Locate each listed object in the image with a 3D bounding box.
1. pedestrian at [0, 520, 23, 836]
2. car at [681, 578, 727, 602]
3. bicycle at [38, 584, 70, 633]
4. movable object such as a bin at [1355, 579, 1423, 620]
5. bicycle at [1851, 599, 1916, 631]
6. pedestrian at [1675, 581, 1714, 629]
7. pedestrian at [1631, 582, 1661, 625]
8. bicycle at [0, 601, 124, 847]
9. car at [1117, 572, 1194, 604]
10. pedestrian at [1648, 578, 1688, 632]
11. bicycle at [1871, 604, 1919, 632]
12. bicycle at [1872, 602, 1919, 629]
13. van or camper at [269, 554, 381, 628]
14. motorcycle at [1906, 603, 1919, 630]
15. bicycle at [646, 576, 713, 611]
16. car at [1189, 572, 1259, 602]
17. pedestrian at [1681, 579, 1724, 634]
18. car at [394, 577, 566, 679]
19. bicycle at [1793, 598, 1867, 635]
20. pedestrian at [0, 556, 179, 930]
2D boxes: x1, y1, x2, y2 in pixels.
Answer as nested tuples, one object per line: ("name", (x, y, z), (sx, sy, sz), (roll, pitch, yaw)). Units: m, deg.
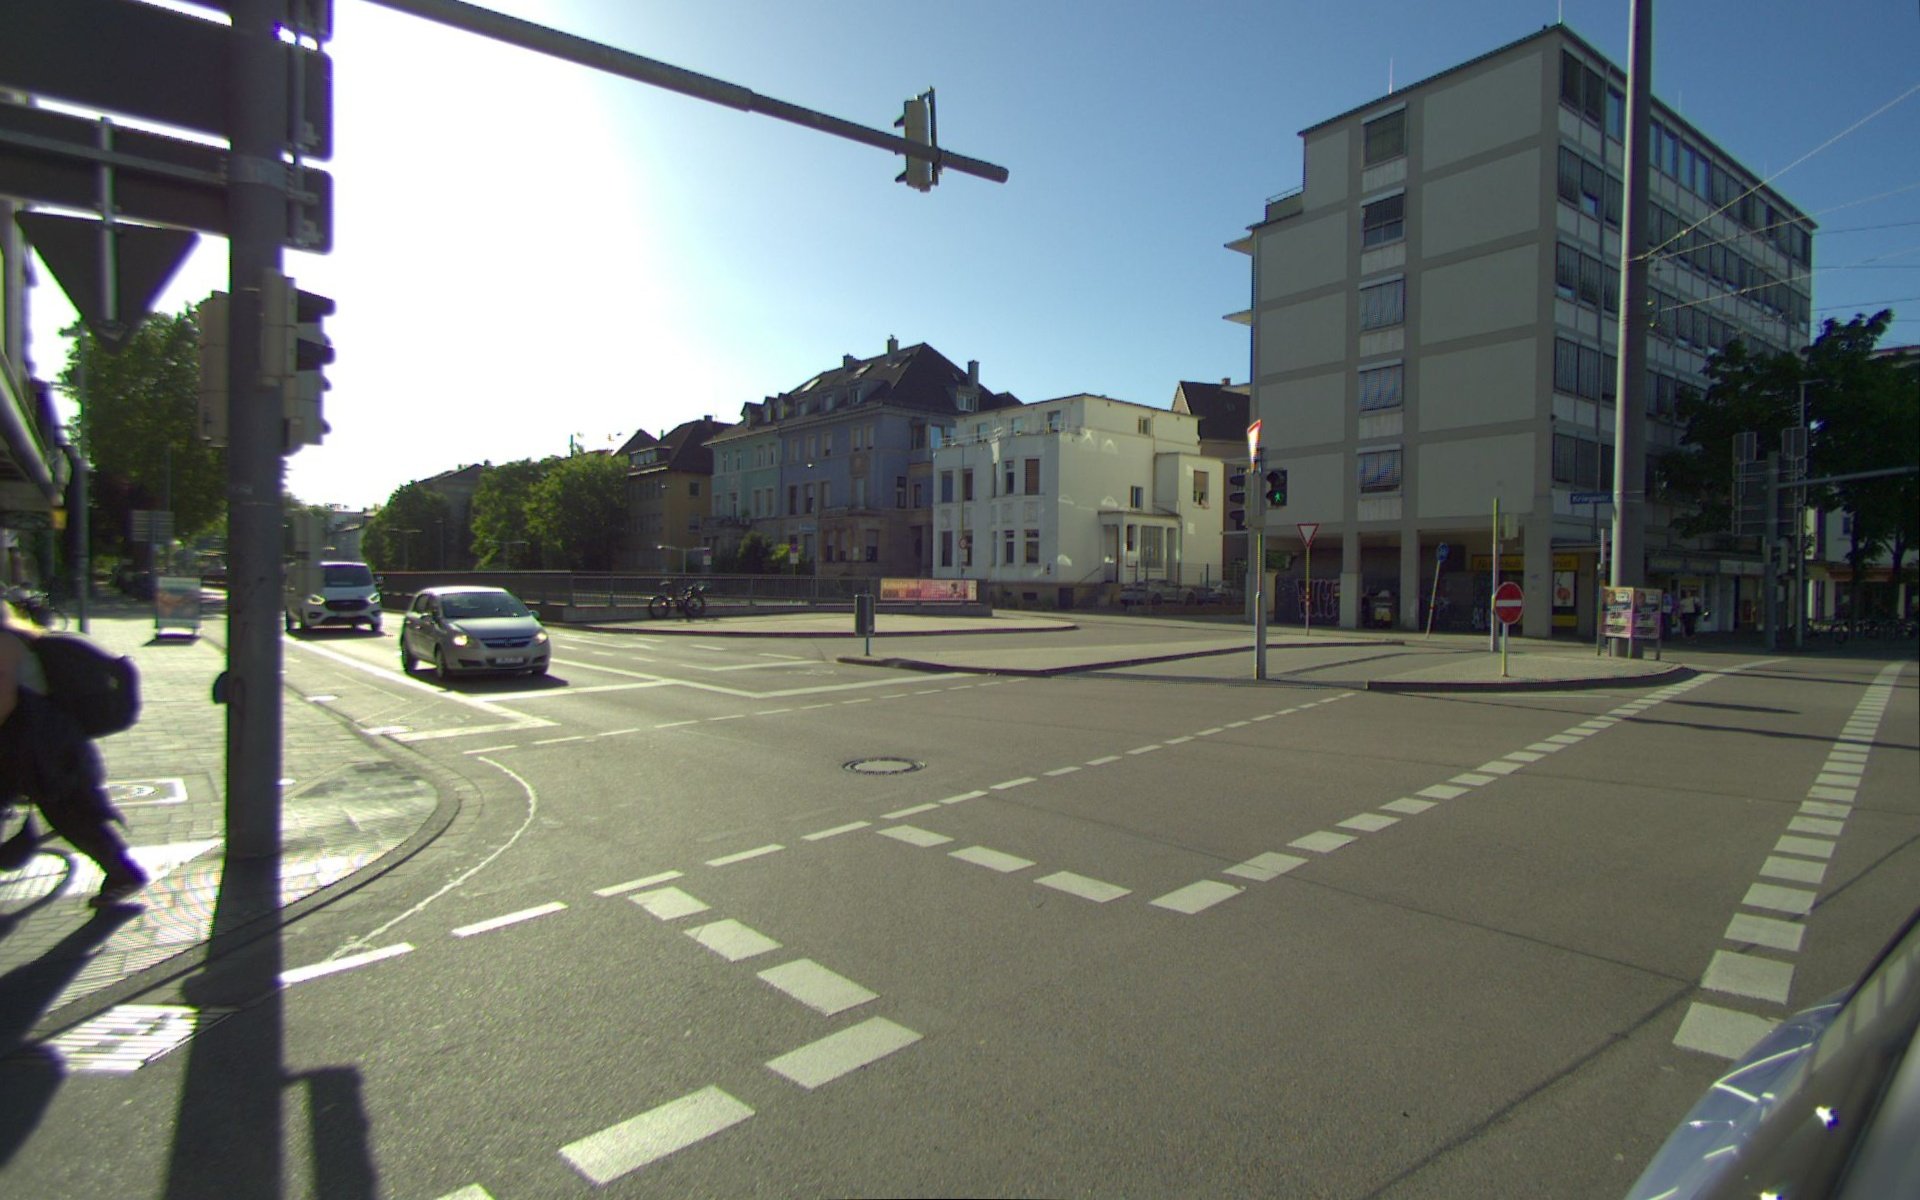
("pedestrian", (-5.190, 0.386, 4.921), (0.524, 1.574, 0.856), (1, 1, 37))
("car", (-18.653, -0.725, 73.691), (1.660, 1.616, 3.888), (0, 1, -40))
("bicycle", (-20.776, 0.177, 23.214), (0.527, 1.062, 1.970), (0, 1, -42))
("movable object such as a bin", (16.326, -0.048, 38.556), (1.424, 1.487, 1.917), (-1, 2, -33))
("bicycle", (36.617, 0.574, 40.143), (0.427, 1.166, 1.814), (0, 2, -38))
("pedestrian", (25.623, 0.157, 35.316), (0.863, 1.622, 0.846), (0, 1, -34))
("pedestrian", (23.296, 0.107, 34.390), (0.609, 1.440, 0.647), (0, 1, -33))
("bicycle", (-5.605, 0.675, 5.257), (0.542, 1.301, 1.883), (1, 1, 36))
("car", (9.931, -0.609, 51.315), (3.955, 1.578, 1.799), (0, 1, -40))
("pedestrian", (23.242, 0.152, 33.215), (0.831, 1.742, 0.879), (0, 1, -41))
("bicycle", (38.323, 0.722, 41.209), (0.449, 1.070, 1.775), (0, 1, -29))
("bicycle", (39.641, 0.653, 42.566), (0.393, 1.069, 1.851), (0, 3, -45))
("van or camper", (-18.737, -0.337, 29.735), (2.006, 1.976, 5.254), (0, 2, -41))
("motorcycle", (41.731, 0.726, 43.273), (0.494, 1.144, 1.793), (0, 1, -33))
("bicycle", (-8.841, -0.203, 31.961), (1.961, 1.094, 0.596), (0, 0, -41))
("car", (14.444, -0.741, 55.368), (3.954, 1.580, 1.785), (0, 2, -41))
("pedestrian", (23.559, 0.188, 32.128), (0.863, 1.728, 0.846), (0, 1, -34))
("car", (-8.273, 0.380, 17.271), (1.772, 1.449, 3.850), (-3, 3, -39))
("bicycle", (30.891, 0.561, 35.979), (0.471, 1.170, 1.898), (0, 3, -33))
("pedestrian", (-4.275, 0.607, 4.703), (0.778, 1.596, 0.854), (1, -1, 41))
